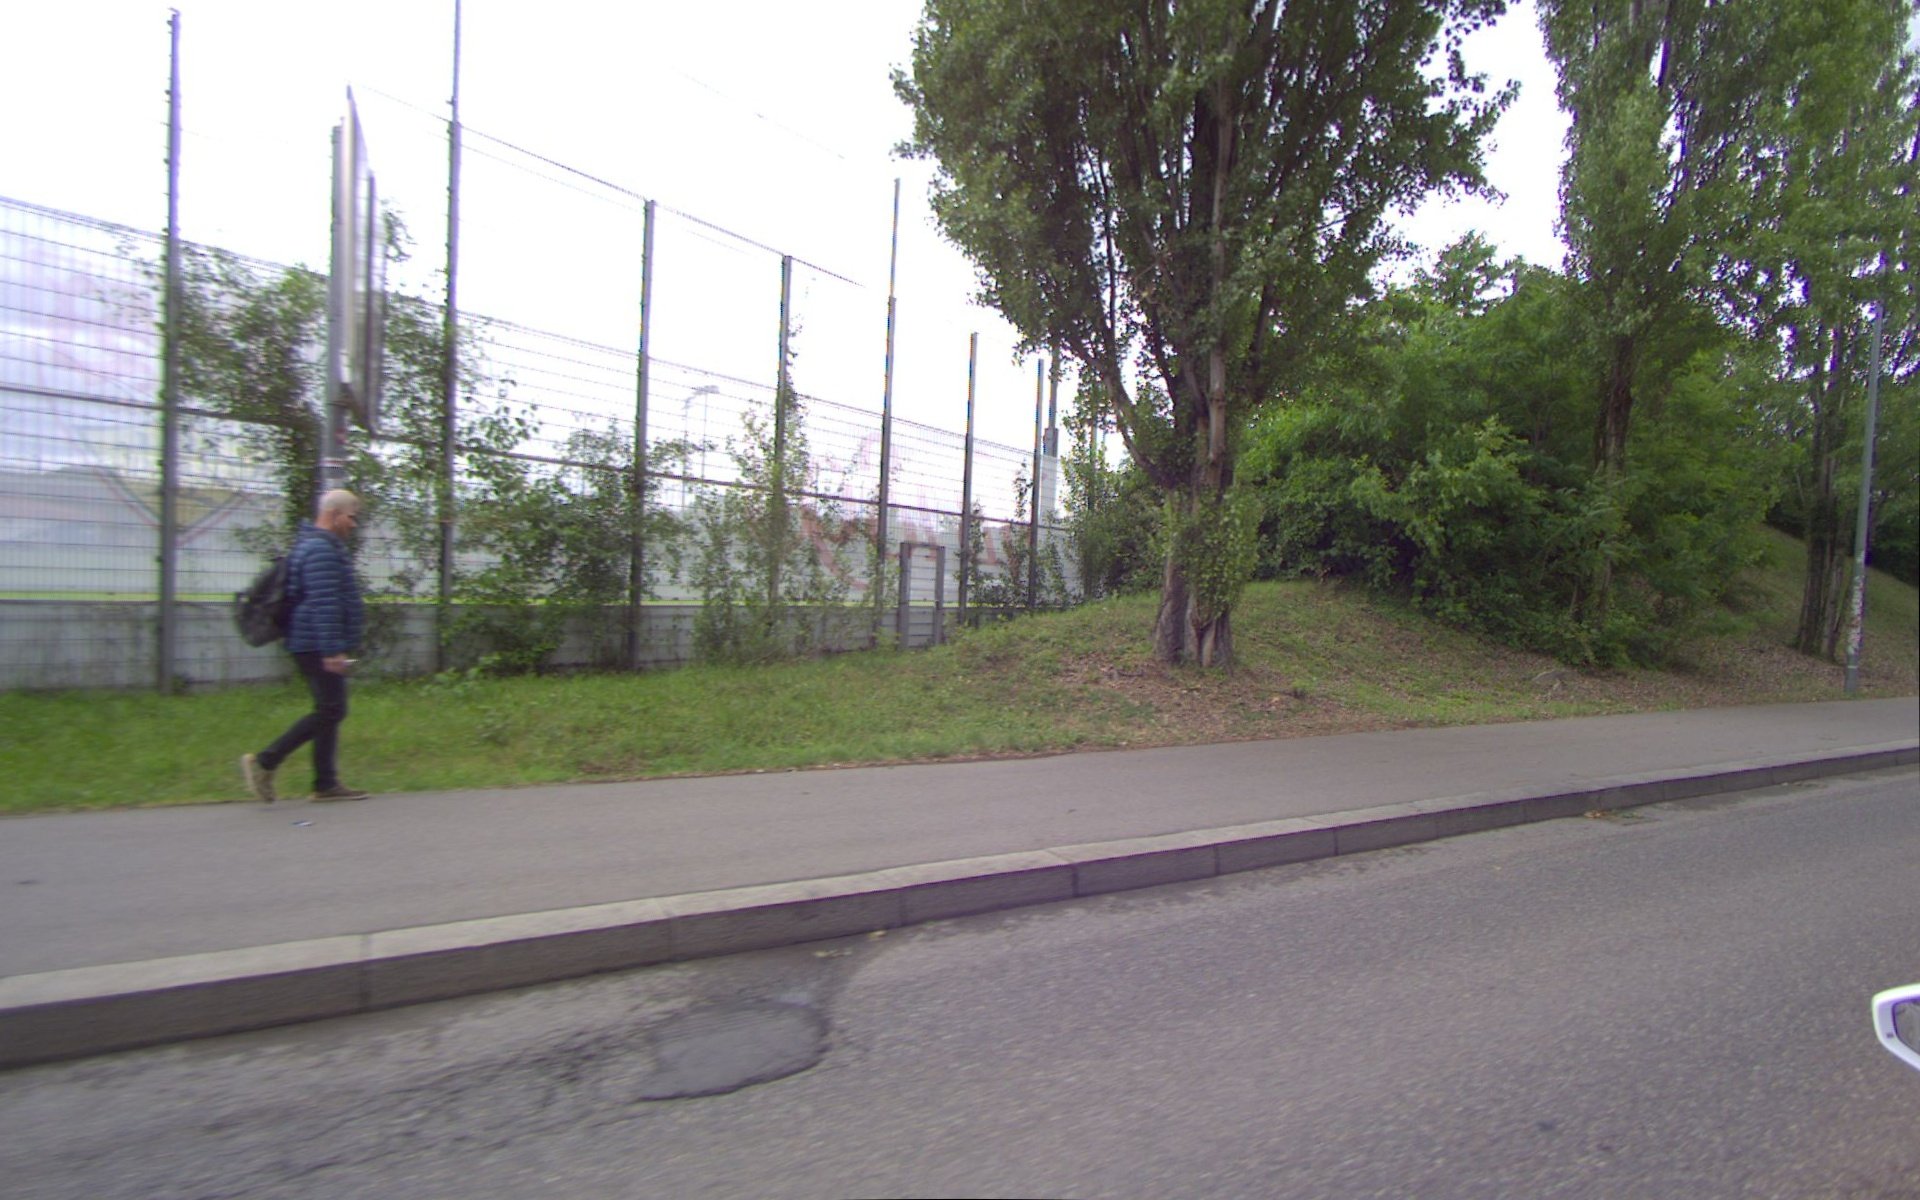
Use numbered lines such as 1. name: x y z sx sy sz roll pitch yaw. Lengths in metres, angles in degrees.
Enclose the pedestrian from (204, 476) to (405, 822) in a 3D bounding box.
1. pedestrian: -3.756 0.247 5.806 0.910 1.805 0.799 0 2 -33
